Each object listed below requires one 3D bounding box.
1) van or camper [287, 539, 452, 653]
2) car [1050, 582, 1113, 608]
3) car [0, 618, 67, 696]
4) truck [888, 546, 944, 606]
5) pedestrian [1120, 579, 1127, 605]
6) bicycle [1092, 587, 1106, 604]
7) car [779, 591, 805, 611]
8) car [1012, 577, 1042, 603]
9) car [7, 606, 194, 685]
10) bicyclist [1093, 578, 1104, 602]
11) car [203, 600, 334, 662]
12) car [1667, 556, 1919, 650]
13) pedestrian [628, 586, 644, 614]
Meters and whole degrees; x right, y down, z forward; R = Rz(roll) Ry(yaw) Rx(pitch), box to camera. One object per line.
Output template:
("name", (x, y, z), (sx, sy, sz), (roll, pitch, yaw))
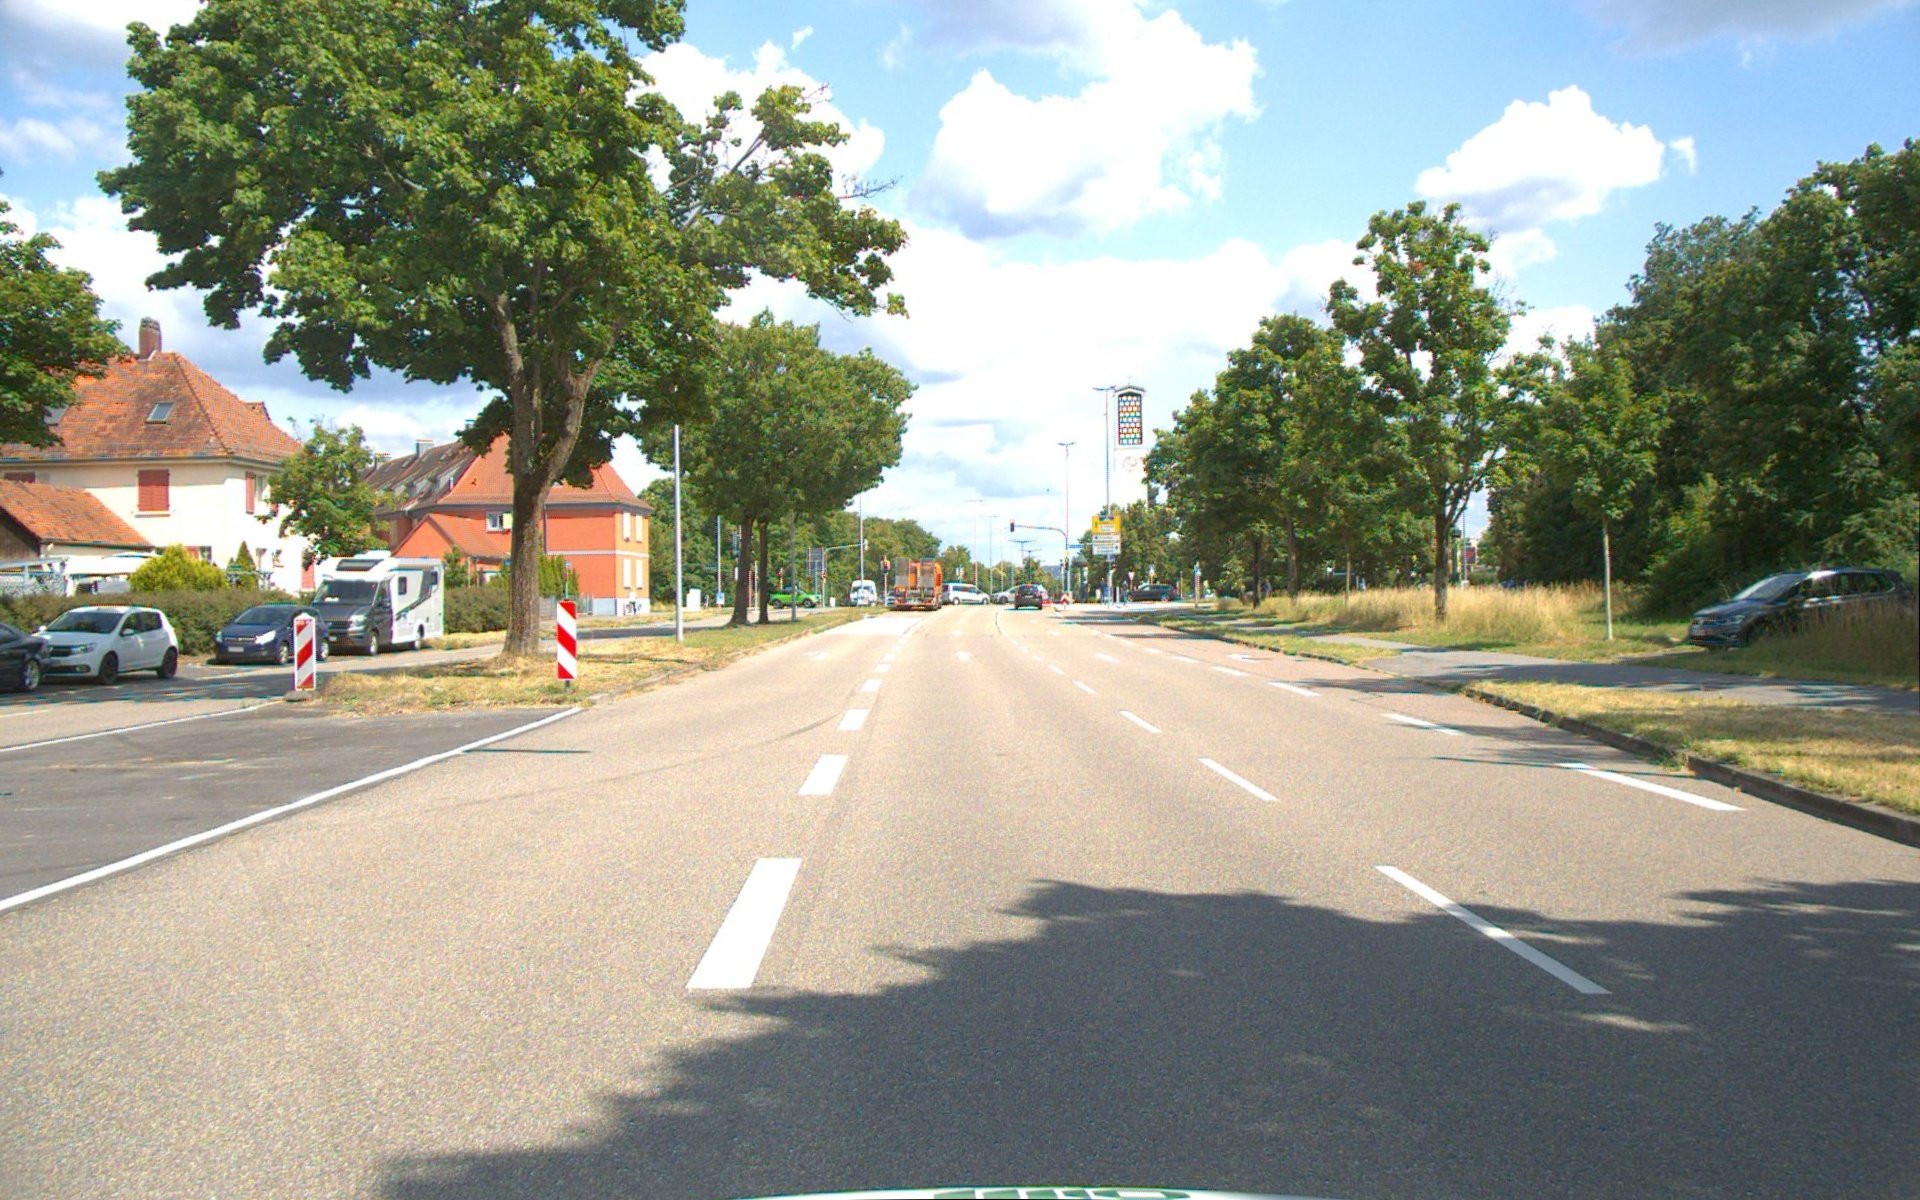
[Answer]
("van or camper", (-17.776, -0.171, 50.274), (2.212, 3.166, 7.321), (1, 1, 1))
("car", (7.422, -0.315, 101.048), (3.516, 1.467, 1.469), (2, -1, -17))
("car", (-17.935, 1.039, 29.353), (1.602, 1.329, 4.585), (1, 1, 1))
("truck", (-2.685, -1.426, 105.114), (3.007, 3.474, 11.069), (1, 0, 1))
("pedestrian", (11.444, -0.568, 115.729), (0.454, 1.810, 0.482), (1, -1, 12))
("bicycle", (9.915, -0.314, 117.961), (0.634, 1.127, 1.929), (1, -1, 17))
("car", (-13.437, 0.065, 132.528), (1.602, 1.511, 3.993), (1, 0, 1))
("car", (4.262, -0.626, 105.775), (1.762, 1.579, 4.000), (1, 0, 1))
("car", (-17.896, 0.911, 34.655), (1.654, 1.511, 4.124), (1, 0, 1))
("bicyclist", (9.870, -0.734, 117.778), (0.634, 1.690, 0.650), (1, -1, 17))
("car", (-17.848, 0.778, 42.881), (1.602, 1.511, 3.993), (1, 0, 1))
("car", (16.266, 0.026, 32.373), (4.084, 1.519, 1.782), (-4, 2, -7))
("pedestrian", (-18.809, 0.005, 96.055), (0.681, 1.611, 0.851), (1, -1, 1))
